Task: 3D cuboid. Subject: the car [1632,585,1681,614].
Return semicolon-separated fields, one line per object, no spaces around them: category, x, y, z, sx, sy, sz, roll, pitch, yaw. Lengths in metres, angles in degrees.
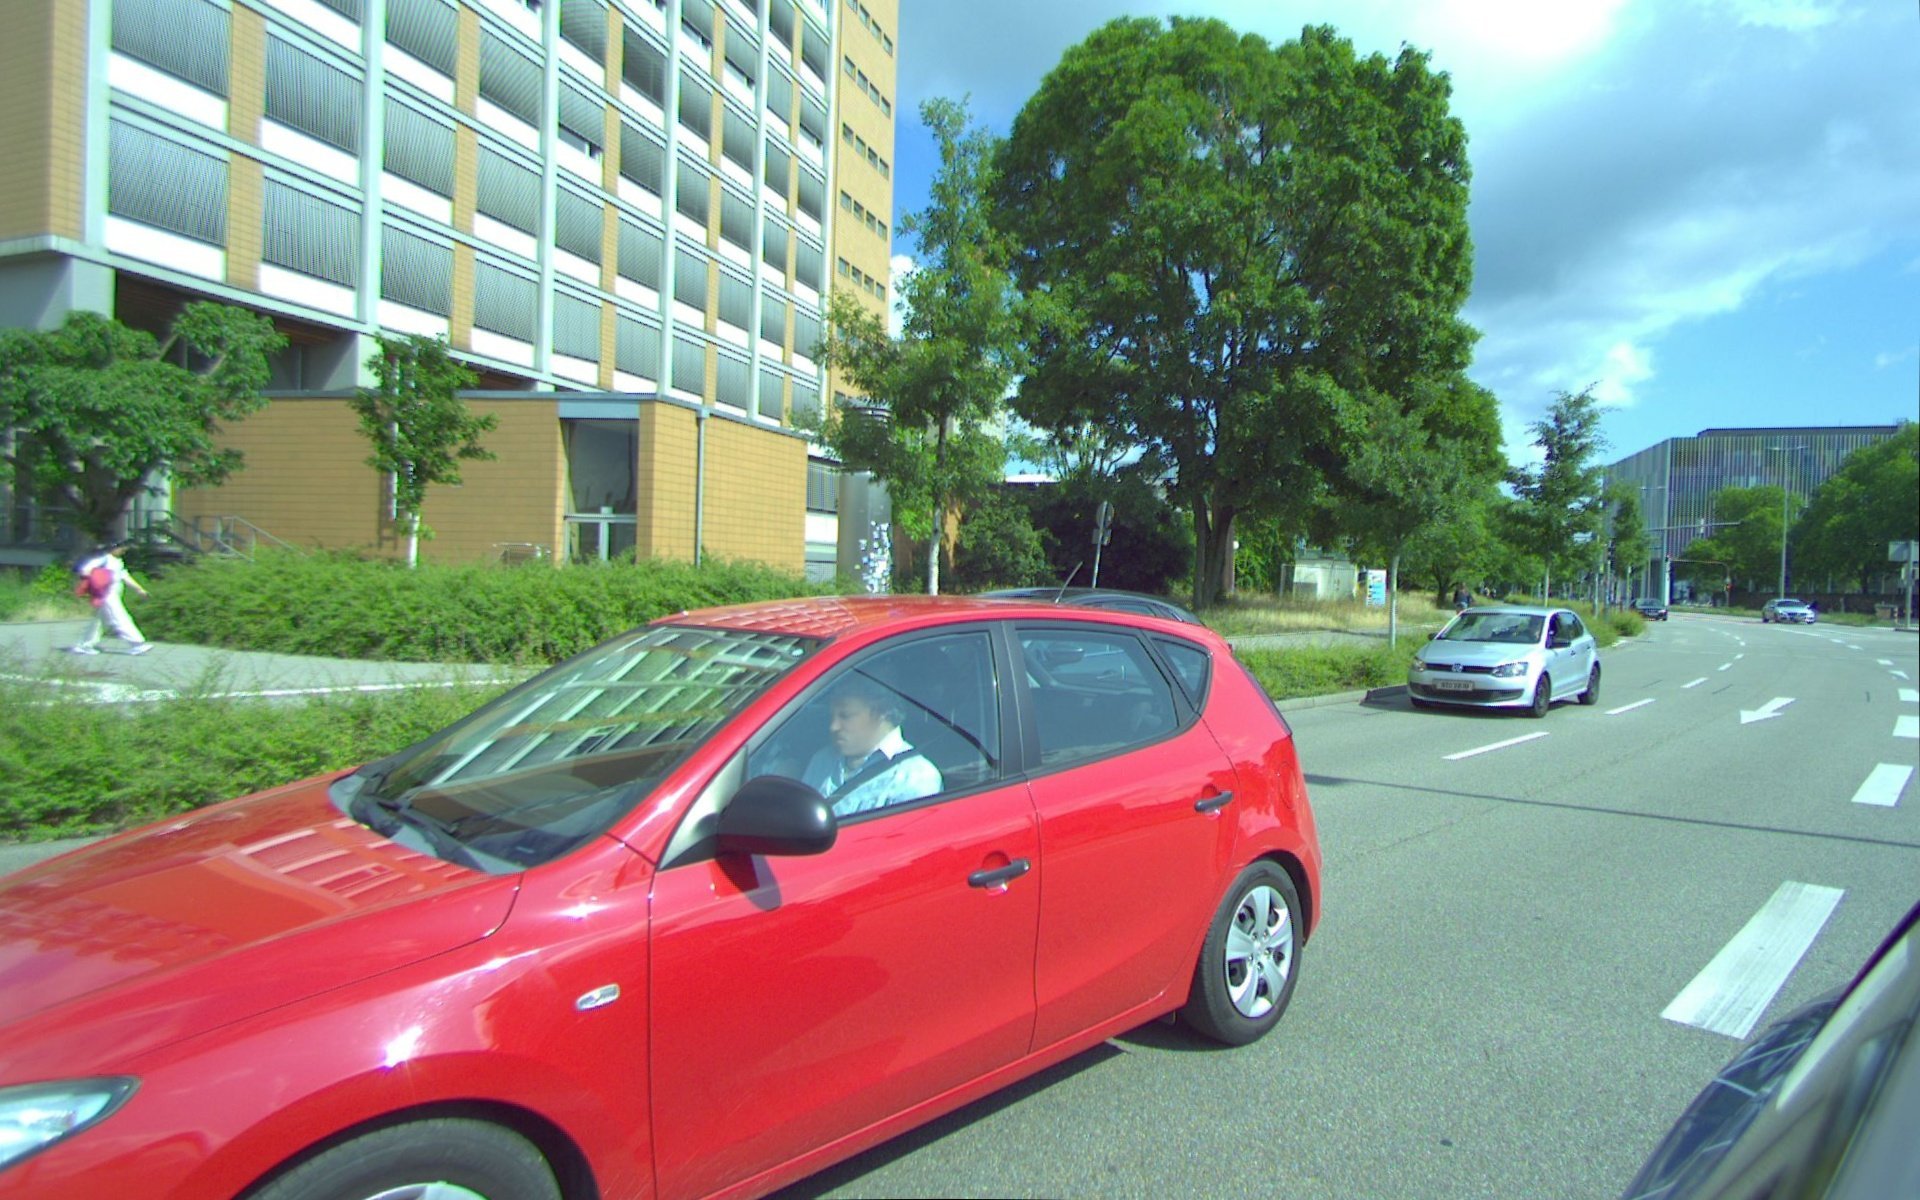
car;44.463;-0.047;64.686;1.980;1.777;3.964;0;1;26

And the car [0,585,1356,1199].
car;-0.555;0.704;3.026;3.995;1.486;1.643;-1;1;-42

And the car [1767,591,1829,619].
car;50.596;0.262;61.212;1.812;1.544;3.968;2;2;24

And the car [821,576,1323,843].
car;1.079;0.626;8.050;4.140;1.596;1.644;-1;1;-42

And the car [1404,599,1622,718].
car;7.944;0.715;14.382;4.011;1.402;1.585;-1;1;-44

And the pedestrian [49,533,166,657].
pedestrian;-11.502;-0.080;13.678;0.940;1.598;0.769;1;1;4
